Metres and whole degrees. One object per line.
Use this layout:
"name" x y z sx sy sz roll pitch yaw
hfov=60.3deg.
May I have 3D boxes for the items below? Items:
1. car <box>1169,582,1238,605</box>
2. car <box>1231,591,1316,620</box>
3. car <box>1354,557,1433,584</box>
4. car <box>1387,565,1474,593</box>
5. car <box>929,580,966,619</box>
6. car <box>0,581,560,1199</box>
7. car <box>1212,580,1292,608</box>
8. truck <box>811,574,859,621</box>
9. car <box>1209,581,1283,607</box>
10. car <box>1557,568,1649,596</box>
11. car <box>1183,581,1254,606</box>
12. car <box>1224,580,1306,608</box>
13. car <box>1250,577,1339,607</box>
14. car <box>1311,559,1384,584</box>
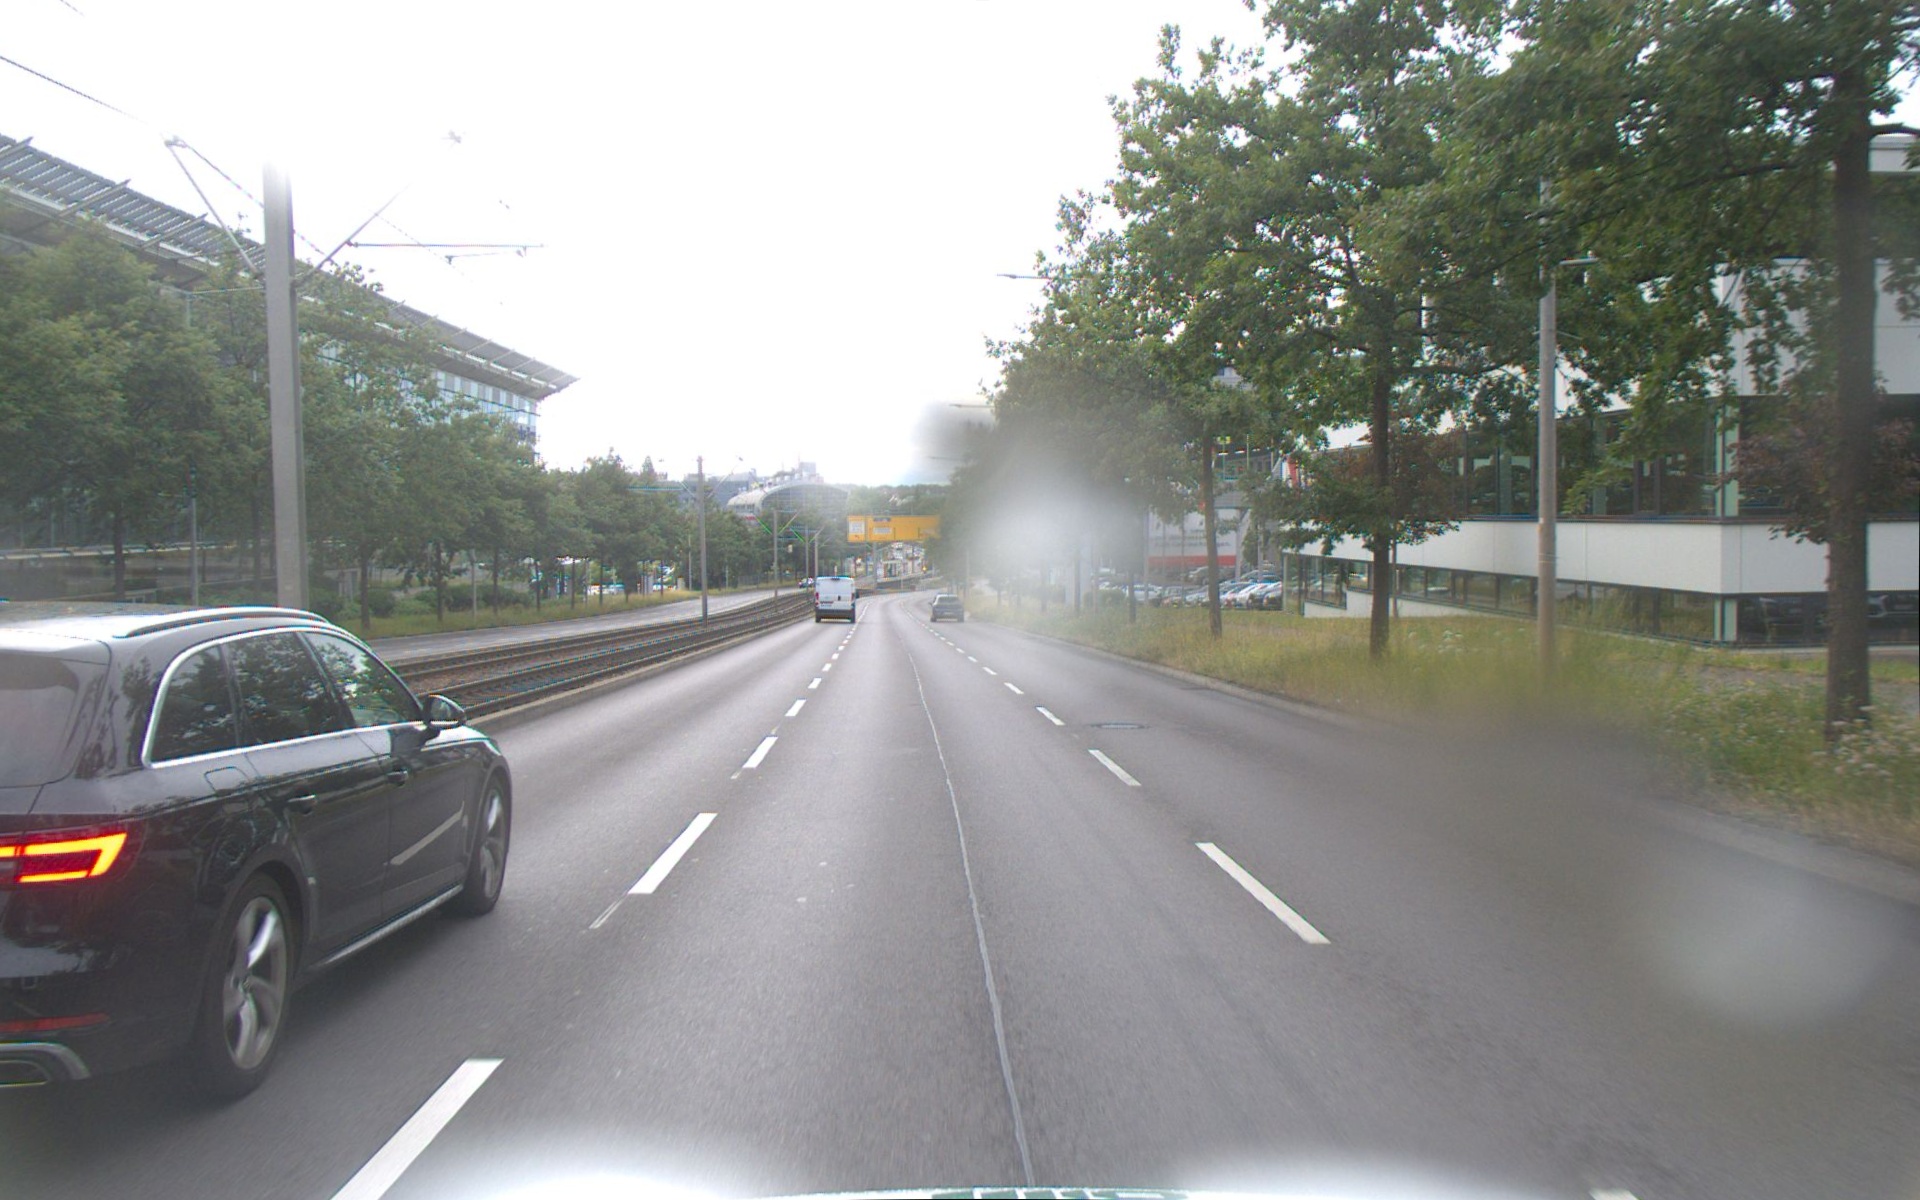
"car" 14.756 -0.396 100.281 3.904 1.378 2.001 1 0 2
"car" 15.553 0.256 82.286 3.904 1.378 2.001 1 0 2
"car" 23.858 -1.622 91.145 3.904 1.378 2.001 1 0 2
"car" 24.150 -1.090 84.956 3.904 1.378 2.001 1 0 2
"car" -0.705 -0.037 89.939 1.953 2.049 3.934 1 0 -1
"car" -2.883 0.678 6.076 1.754 1.459 4.827 0 1 -1
"car" 15.440 -0.312 87.643 3.904 1.378 2.001 1 0 2
"truck" -6.349 -0.147 84.567 2.313 2.301 5.303 1 0 -3
"car" 16.275 -0.339 94.268 3.904 1.378 2.001 1 0 2
"car" 32.804 -0.918 84.432 3.904 1.378 2.001 1 0 2
"car" 15.148 -0.373 97.223 3.904 1.378 2.001 1 0 2
"car" 15.639 -0.293 84.881 3.904 1.378 2.001 1 0 2
"car" 15.988 -0.395 79.210 3.904 1.378 2.001 1 0 2
"car" 22.927 -1.676 98.015 3.904 1.378 2.001 1 0 2
